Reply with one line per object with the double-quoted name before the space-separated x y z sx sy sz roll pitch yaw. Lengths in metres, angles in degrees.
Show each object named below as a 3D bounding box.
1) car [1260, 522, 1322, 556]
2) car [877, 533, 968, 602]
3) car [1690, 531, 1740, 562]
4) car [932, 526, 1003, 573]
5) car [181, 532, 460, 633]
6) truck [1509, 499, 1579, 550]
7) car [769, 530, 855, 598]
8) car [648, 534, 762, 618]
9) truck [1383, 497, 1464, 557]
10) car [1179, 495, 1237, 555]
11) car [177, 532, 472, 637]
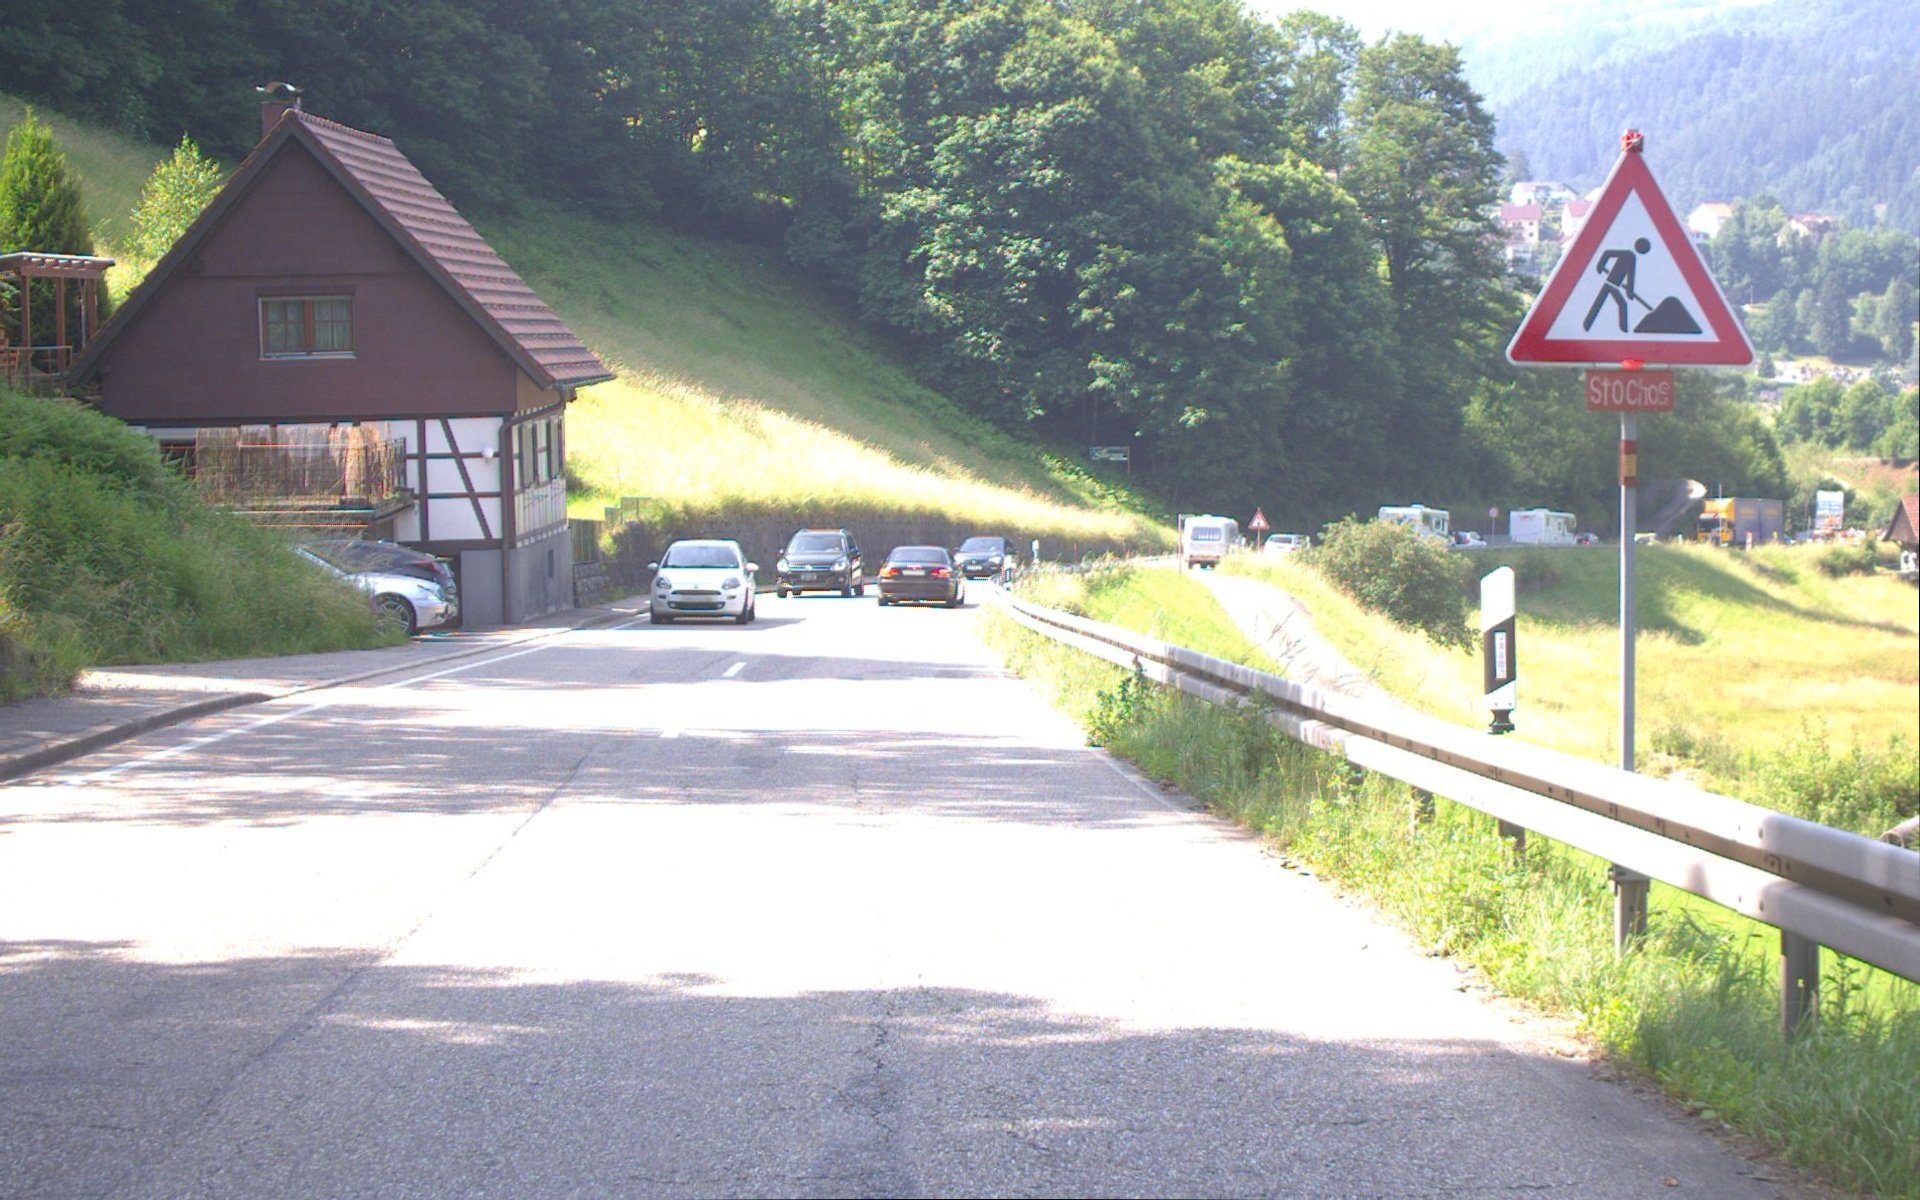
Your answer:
"car" 15.950 -2.943 165.468 1.996 1.479 3.996 4 3 19
"car" -0.817 -0.745 76.960 1.771 1.331 3.767 2 3 3
"car" 51.575 -3.667 234.752 1.997 1.919 3.993 5 2 31
"car" 0.274 -1.677 112.918 1.765 1.391 4.144 1 2 8
"car" -9.616 -0.277 51.868 3.816 1.428 1.864 0 2 2
"truck" 35.065 -4.515 206.353 2.241 2.794 6.222 3 1 28
"car" -3.613 -0.885 84.649 1.889 1.639 4.258 0 1 1
"car" -4.485 -0.422 60.813 1.777 1.432 4.000 0 0 -1
"truck" 25.028 -3.981 185.526 2.794 2.987 6.862 4 3 19
"car" 10.483 -3.185 145.181 1.994 2.344 4.913 2 3 9
"car" -9.003 -0.238 48.928 3.816 1.412 1.857 0 2 2
